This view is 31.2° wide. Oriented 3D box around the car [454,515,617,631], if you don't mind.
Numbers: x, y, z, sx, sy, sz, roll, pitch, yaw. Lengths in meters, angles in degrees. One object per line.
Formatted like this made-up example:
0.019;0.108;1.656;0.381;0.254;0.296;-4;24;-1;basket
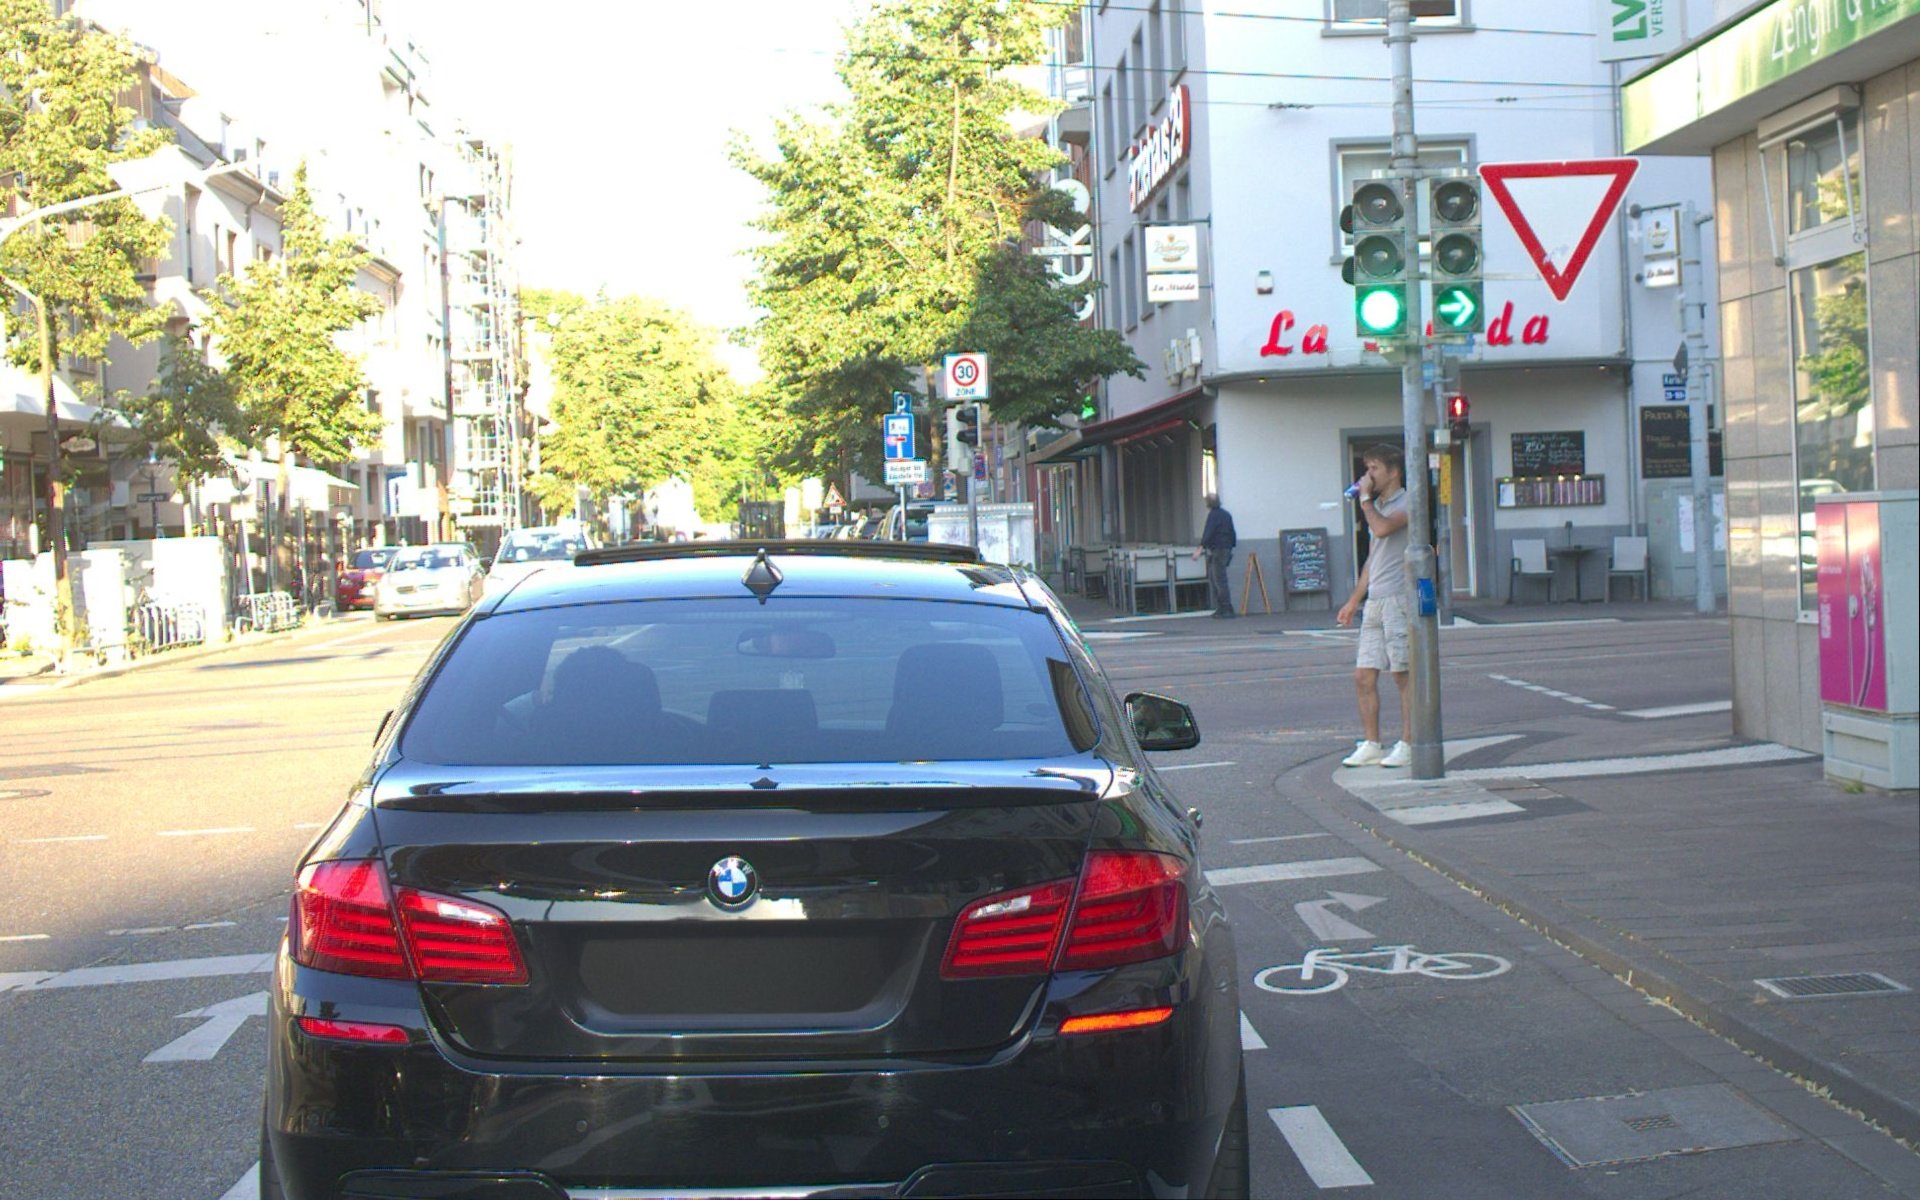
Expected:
-6.286;-0.404;51.342;2.107;1.551;4.013;-3;1;-4;car

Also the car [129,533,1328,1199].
-0.418;0.604;7.850;1.953;1.493;4.465;0;1;-1;car

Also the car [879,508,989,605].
-0.388;-0.710;54.711;1.640;1.439;3.607;-2;1;0;car

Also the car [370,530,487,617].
-10.293;-0.520;66.764;1.834;1.551;3.780;-3;1;-4;car

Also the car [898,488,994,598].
-0.239;-1.049;61.380;1.640;1.867;3.607;1;2;0;car

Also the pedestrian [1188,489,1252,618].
3.430;-0.622;45.470;0.711;1.670;0.703;-2;1;-3;pedestrian

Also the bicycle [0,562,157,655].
-12.338;0.118;47.473;2.366;1.248;0.640;-1;1;-6;bicycle

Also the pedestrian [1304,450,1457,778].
2.292;0.065;18.809;0.651;1.736;0.694;-2;1;-3;pedestrian

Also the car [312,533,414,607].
-13.657;-0.690;78.865;1.834;1.551;3.780;-3;1;-4;car
